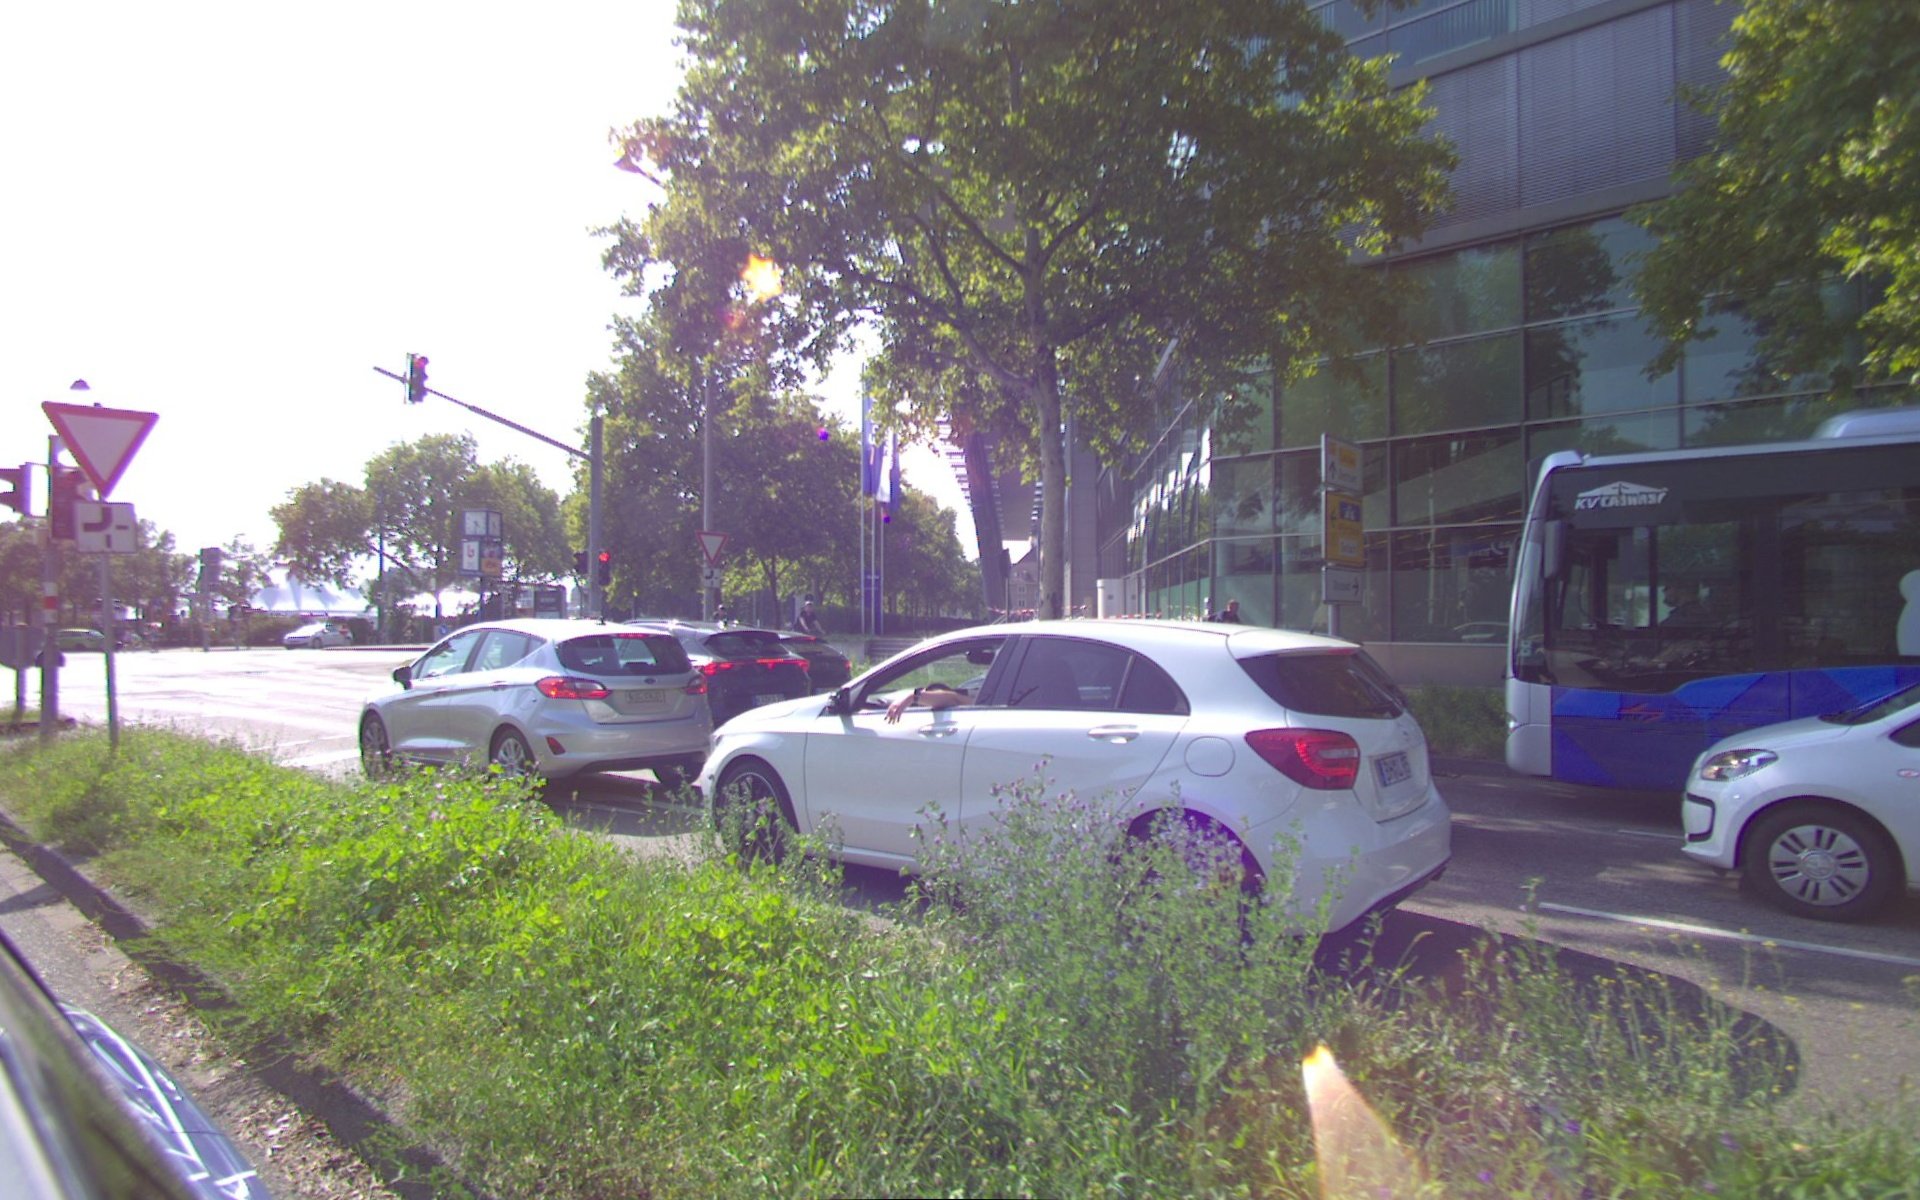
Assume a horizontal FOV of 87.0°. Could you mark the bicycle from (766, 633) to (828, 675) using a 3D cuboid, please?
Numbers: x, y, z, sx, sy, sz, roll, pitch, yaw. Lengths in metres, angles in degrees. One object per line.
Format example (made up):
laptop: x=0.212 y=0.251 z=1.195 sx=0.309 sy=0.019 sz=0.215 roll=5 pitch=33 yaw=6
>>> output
bicycle: x=-4.523 y=1.482 z=27.964 sx=1.896 sy=1.099 sz=0.676 roll=-1 pitch=-2 yaw=43

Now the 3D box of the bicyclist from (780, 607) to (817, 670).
bicyclist: x=-4.458 y=1.054 z=27.919 sx=0.809 sy=1.701 sz=0.660 roll=-2 pitch=-2 yaw=42

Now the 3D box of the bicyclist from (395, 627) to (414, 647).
bicyclist: x=-33.274 y=2.213 z=60.634 sx=0.901 sy=1.149 sz=0.518 roll=0 pitch=-1 yaw=18

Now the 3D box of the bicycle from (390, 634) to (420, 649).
bicycle: x=-33.252 y=2.484 z=60.618 sx=1.723 sy=0.871 sz=0.527 roll=0 pitch=-2 yaw=19

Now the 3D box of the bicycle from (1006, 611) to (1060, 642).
bicycle: x=2.608 y=0.930 z=35.991 sx=1.838 sy=1.102 sz=0.528 roll=0 pitch=-1 yaw=-7

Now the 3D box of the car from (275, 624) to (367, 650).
car: x=-38.670 y=2.189 z=61.425 sx=1.836 sy=1.457 sz=5.424 roll=0 pitch=-1 yaw=4

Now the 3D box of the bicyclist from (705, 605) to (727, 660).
bicyclist: x=-7.621 y=1.018 z=31.601 sx=0.623 sy=1.701 sz=0.812 roll=1 pitch=-2 yaw=-18

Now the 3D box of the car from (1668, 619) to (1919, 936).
car: x=5.760 y=0.864 z=4.814 sx=3.817 sy=1.478 sz=1.689 roll=-1 pitch=-3 yaw=39

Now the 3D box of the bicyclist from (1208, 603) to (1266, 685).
bicyclist: x=5.320 y=0.830 z=19.417 sx=0.885 sy=1.529 sz=0.647 roll=-1 pitch=-1 yaw=40

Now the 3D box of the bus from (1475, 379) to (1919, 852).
bus: x=9.786 y=0.080 z=5.402 sx=12.301 sy=3.103 sz=2.564 roll=-1 pitch=-1 yaw=40

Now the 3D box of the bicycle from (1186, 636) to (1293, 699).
bicycle: x=5.339 y=1.264 z=19.394 sx=1.887 sy=1.119 sz=0.649 roll=-1 pitch=-1 yaw=40

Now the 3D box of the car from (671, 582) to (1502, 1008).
car: x=0.409 y=0.734 z=5.346 sx=4.079 sy=1.413 sz=1.692 roll=-2 pitch=-4 yaw=39

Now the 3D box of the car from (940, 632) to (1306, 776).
car: x=1.836 y=1.103 z=12.067 sx=3.995 sy=1.401 sz=1.725 roll=-1 pitch=-2 yaw=38

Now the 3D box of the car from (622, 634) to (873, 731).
car: x=-3.508 y=1.256 z=16.338 sx=4.154 sy=1.363 sz=1.693 roll=-1 pitch=-3 yaw=38

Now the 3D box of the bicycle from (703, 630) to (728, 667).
bicycle: x=-7.627 y=1.502 z=31.587 sx=0.633 sy=1.103 sz=1.655 roll=0 pitch=-1 yaw=-18

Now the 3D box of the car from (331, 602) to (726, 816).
car: x=-3.988 y=0.813 z=9.056 sx=3.997 sy=1.507 sz=1.626 roll=-1 pitch=-2 yaw=40

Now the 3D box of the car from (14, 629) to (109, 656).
car: x=-55.238 y=2.593 z=62.295 sx=3.936 sy=1.564 sz=2.004 roll=0 pitch=-2 yaw=-9

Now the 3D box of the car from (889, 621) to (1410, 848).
car: x=1.447 y=0.942 z=8.521 sx=3.996 sy=1.453 sz=1.689 roll=-1 pitch=-3 yaw=39

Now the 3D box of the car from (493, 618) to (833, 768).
car: x=-3.705 y=1.006 z=12.313 sx=4.258 sy=1.515 sz=1.836 roll=-1 pitch=-3 yaw=38
